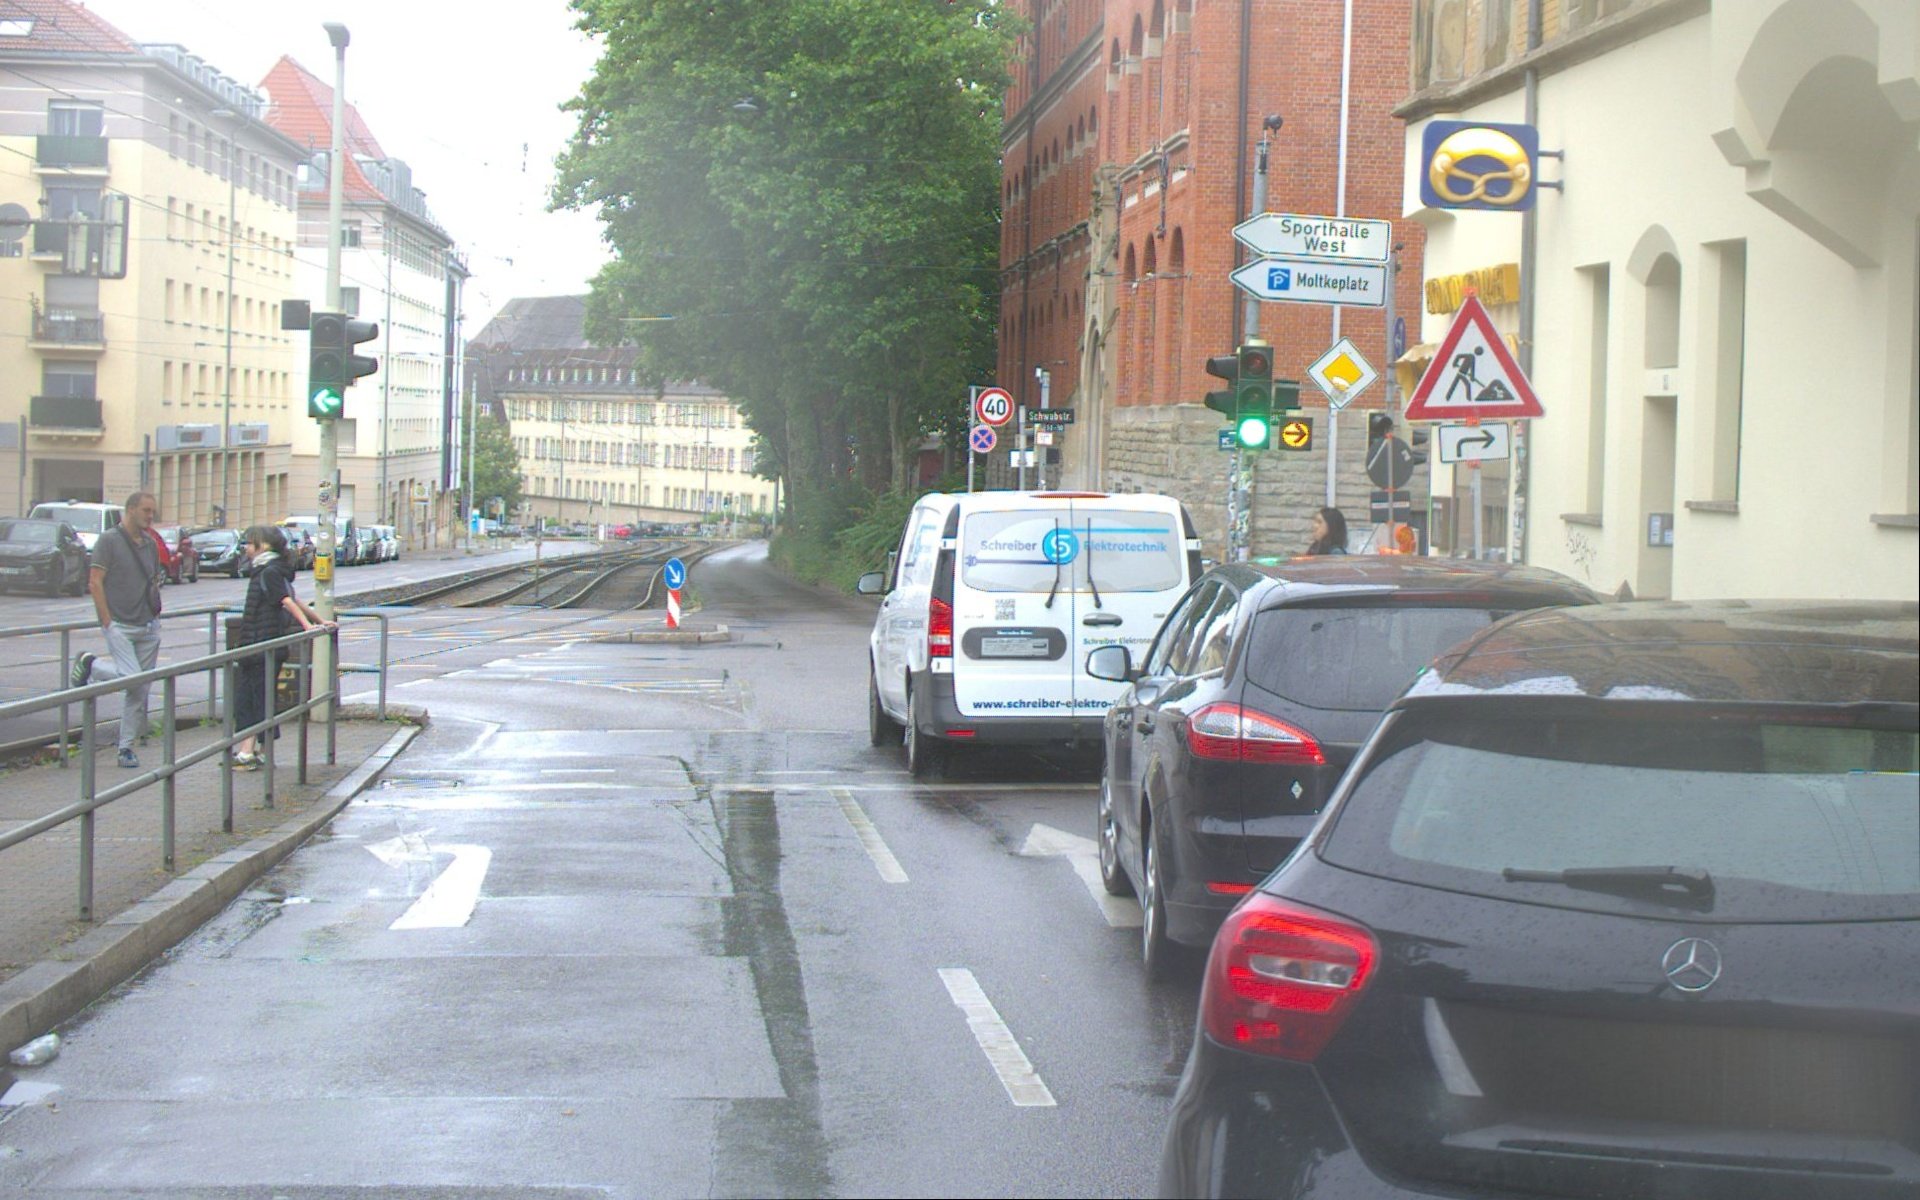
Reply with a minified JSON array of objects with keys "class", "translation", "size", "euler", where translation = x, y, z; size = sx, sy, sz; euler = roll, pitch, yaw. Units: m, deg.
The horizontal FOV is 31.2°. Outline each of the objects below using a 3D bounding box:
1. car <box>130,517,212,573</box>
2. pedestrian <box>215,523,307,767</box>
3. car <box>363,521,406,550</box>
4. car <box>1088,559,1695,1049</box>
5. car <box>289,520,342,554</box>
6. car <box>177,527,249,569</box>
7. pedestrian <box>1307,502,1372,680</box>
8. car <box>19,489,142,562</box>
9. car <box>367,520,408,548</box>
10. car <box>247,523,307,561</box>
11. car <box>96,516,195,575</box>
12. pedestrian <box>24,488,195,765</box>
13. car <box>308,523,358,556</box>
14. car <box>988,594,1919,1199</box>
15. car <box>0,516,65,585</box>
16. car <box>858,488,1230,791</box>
[{"class":"car","translation":[-19.971,-1.396,87.111],"size":[1.499,1.351,3.162],"euler":[1,1,-3]},{"class":"pedestrian","translation":[-4.437,0.278,21.819],"size":[0.531,1.525,0.437],"euler":[1,1,-11]},{"class":"car","translation":[-24.059,-2.684,143.734],"size":[1.395,1.167,3.162],"euler":[1,1,-3]},{"class":"car","translation":[1.426,0.611,12.874],"size":[1.713,1.464,4.281],"euler":[2,1,0]},{"class":"car","translation":[-22.481,-2.198,120.021],"size":[1.395,1.167,3.162],"euler":[1,1,-3]},{"class":"car","translation":[-20.745,-1.458,95.526],"size":[1.437,1.103,3.162],"euler":[1,1,-3]},{"class":"pedestrian","translation":[2.737,-0.066,24.818],"size":[0.412,1.266,0.292],"euler":[2,1,2]},{"class":"car","translation":[-19.496,-1.640,76.387],"size":[1.786,1.525,4.463],"euler":[1,1,-3]},{"class":"car","translation":[-24.665,-2.828,148.197],"size":[1.395,1.167,3.162],"euler":[1,1,-3]},{"class":"car","translation":[-21.620,-1.833,108.870],"size":[1.395,1.167,3.162],"euler":[1,1,-3]},{"class":"car","translation":[-19.645,-1.321,83.049],"size":[1.680,1.351,3.703],"euler":[1,1,-3]},{"class":"pedestrian","translation":[-5.407,0.159,21.857],"size":[0.740,1.718,0.739],"euler":[2,1,43]},{"class":"car","translation":[-23.017,-2.218,126.311],"size":[1.395,1.167,3.162],"euler":[1,1,-3]},{"class":"car","translation":[1.664,0.718,6.487],"size":[1.897,1.385,3.995],"euler":[2,1,22]},{"class":"car","translation":[-19.263,-1.028,69.919],"size":[1.451,1.314,3.296],"euler":[2,1,-5]},{"class":"car","translation":[0.459,0.197,23.345],"size":[1.933,1.825,4.282],"euler":[1,1,-6]}]
